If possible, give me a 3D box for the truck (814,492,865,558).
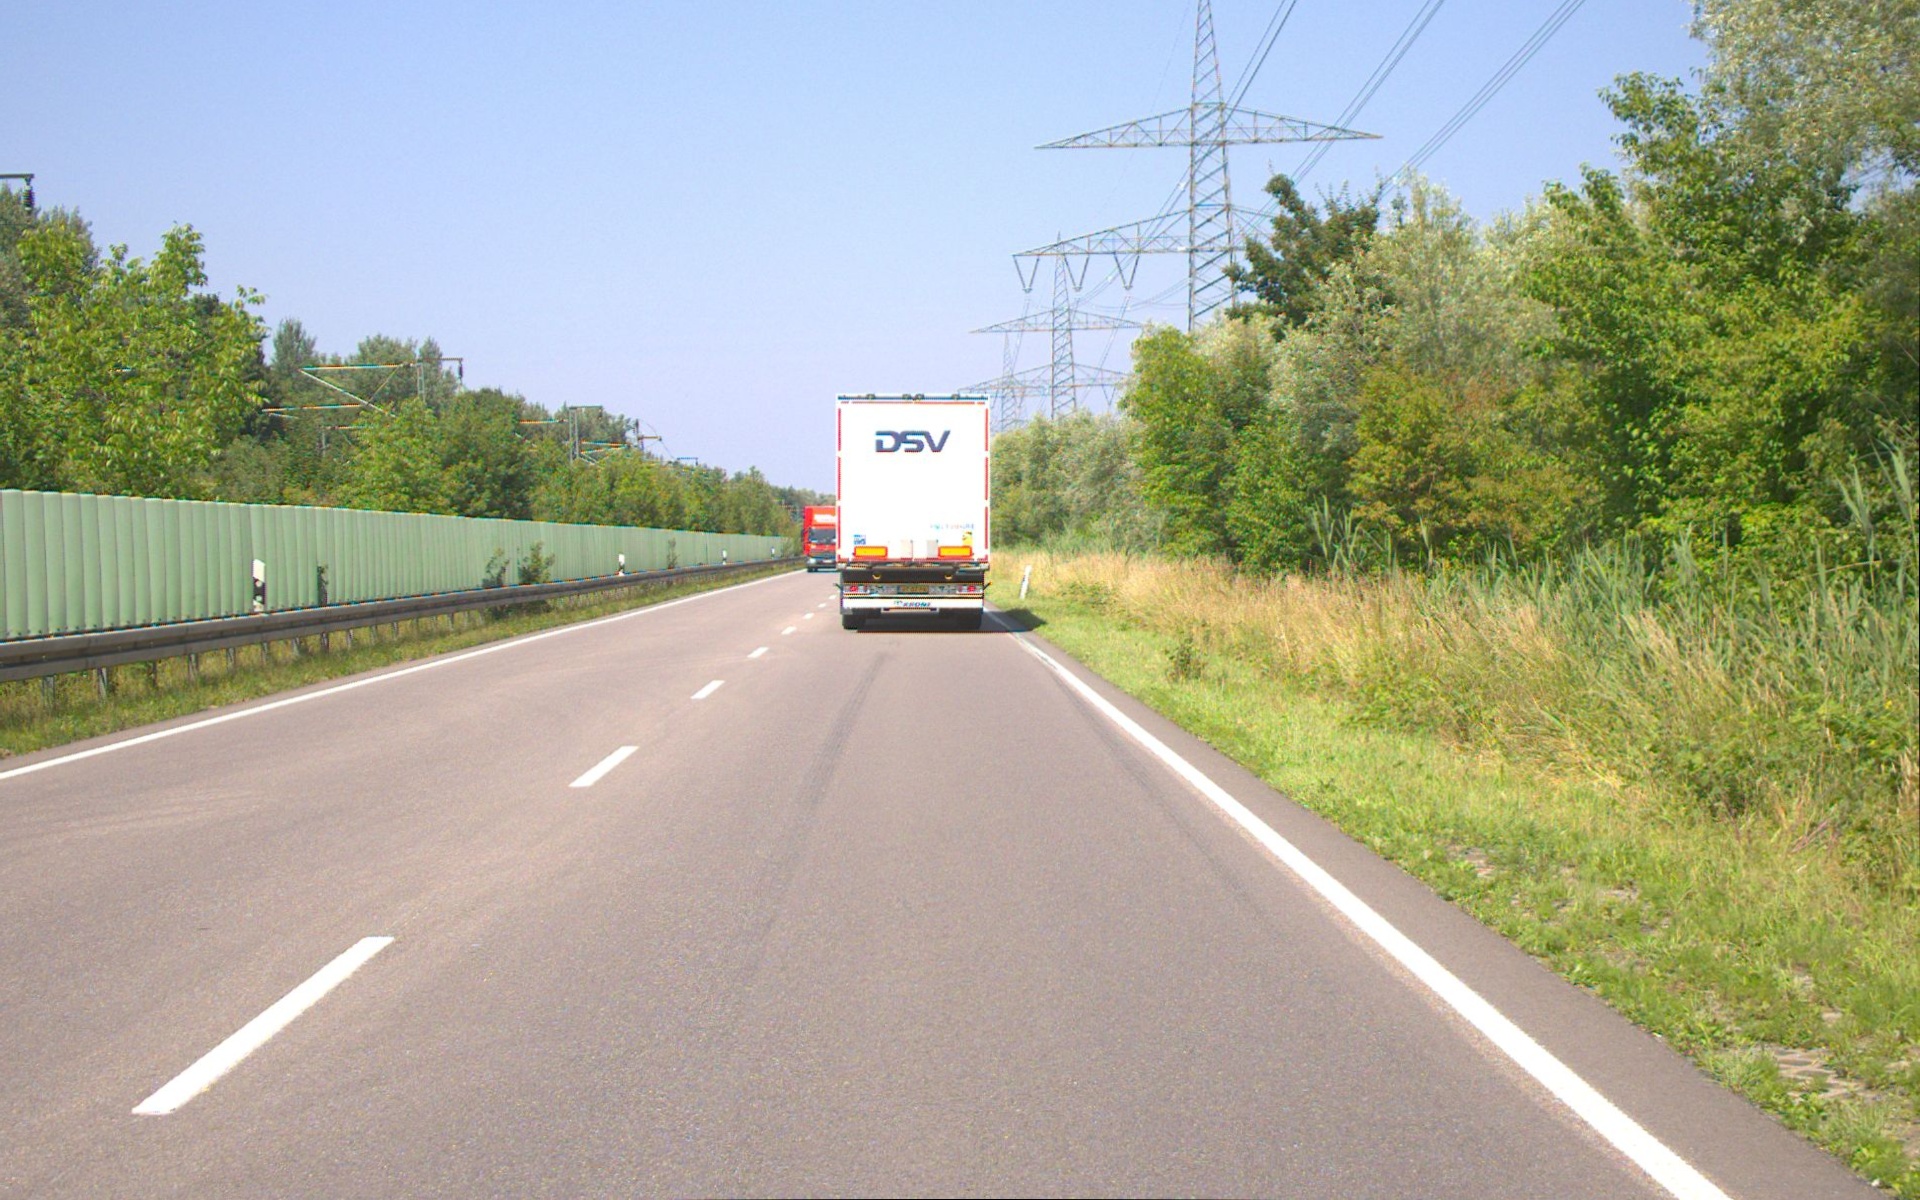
[{"bbox_3d":[-6.719,-4.188,192.265,2.734,3.586,9.528,0,1,-1],"label":"truck"}]

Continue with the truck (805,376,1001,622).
[{"bbox_3d":[-1.079,-1.774,62.521,3.192,4.029,12.008,0,1,-1],"label":"truck"}]
